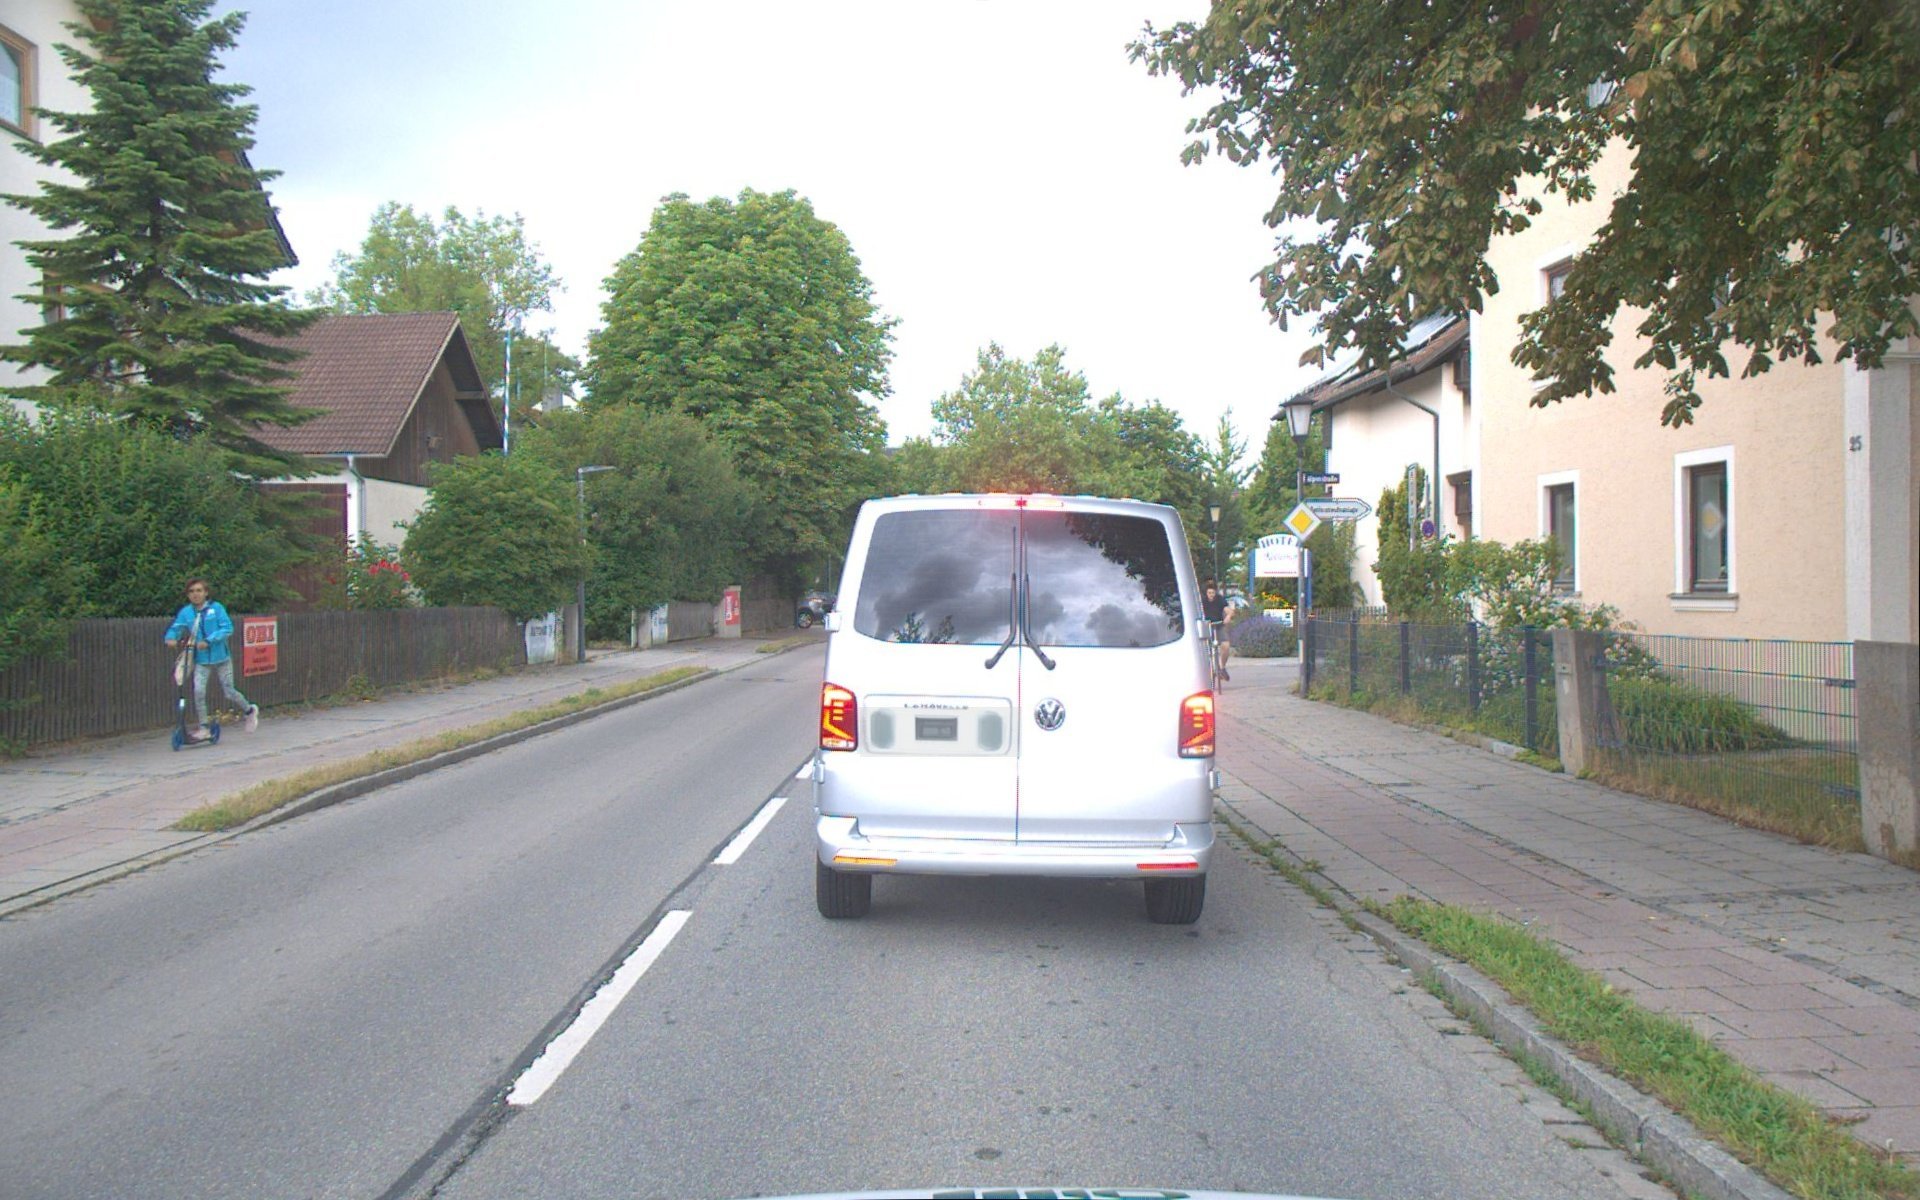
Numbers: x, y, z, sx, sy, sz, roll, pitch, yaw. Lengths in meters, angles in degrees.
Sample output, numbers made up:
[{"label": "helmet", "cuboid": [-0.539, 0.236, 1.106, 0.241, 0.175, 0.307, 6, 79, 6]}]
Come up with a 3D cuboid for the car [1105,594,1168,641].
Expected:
[{"label": "car", "cuboid": [6.241, 0.589, 58.023, 1.841, 1.562, 3.924, 0, 0, 11]}]

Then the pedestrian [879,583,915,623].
[{"label": "pedestrian", "cuboid": [-2.871, 0.126, 75.500, 1.049, 1.834, 1.316, 0, 0, 40]}]

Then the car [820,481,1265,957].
[{"label": "car", "cuboid": [0.354, 0.489, 8.831, 1.842, 1.974, 3.920, 0, 0, 0]}]

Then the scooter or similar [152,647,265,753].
[{"label": "scooter or similar", "cuboid": [-6.636, 0.869, 14.640, 0.511, 0.865, 1.061, 0, 0, 0]}]

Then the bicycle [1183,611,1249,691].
[{"label": "bicycle", "cuboid": [4.044, 0.788, 26.239, 0.749, 1.163, 1.845, -2, 0, 1]}]

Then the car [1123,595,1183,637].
[{"label": "car", "cuboid": [7.501, 0.603, 64.049, 1.841, 1.562, 3.924, 0, 0, 13]}]

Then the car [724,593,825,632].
[{"label": "car", "cuboid": [-7.390, 0.484, 65.633, 3.913, 1.512, 1.996, 0, 0, -9]}]

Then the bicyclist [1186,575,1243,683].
[{"label": "bicyclist", "cuboid": [4.026, 0.448, 26.233, 0.721, 1.661, 0.890, -2, 0, 1]}]

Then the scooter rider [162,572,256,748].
[{"label": "scooter rider", "cuboid": [-6.630, 0.516, 14.617, 0.492, 1.515, 0.716, 0, 0, 0]}]
